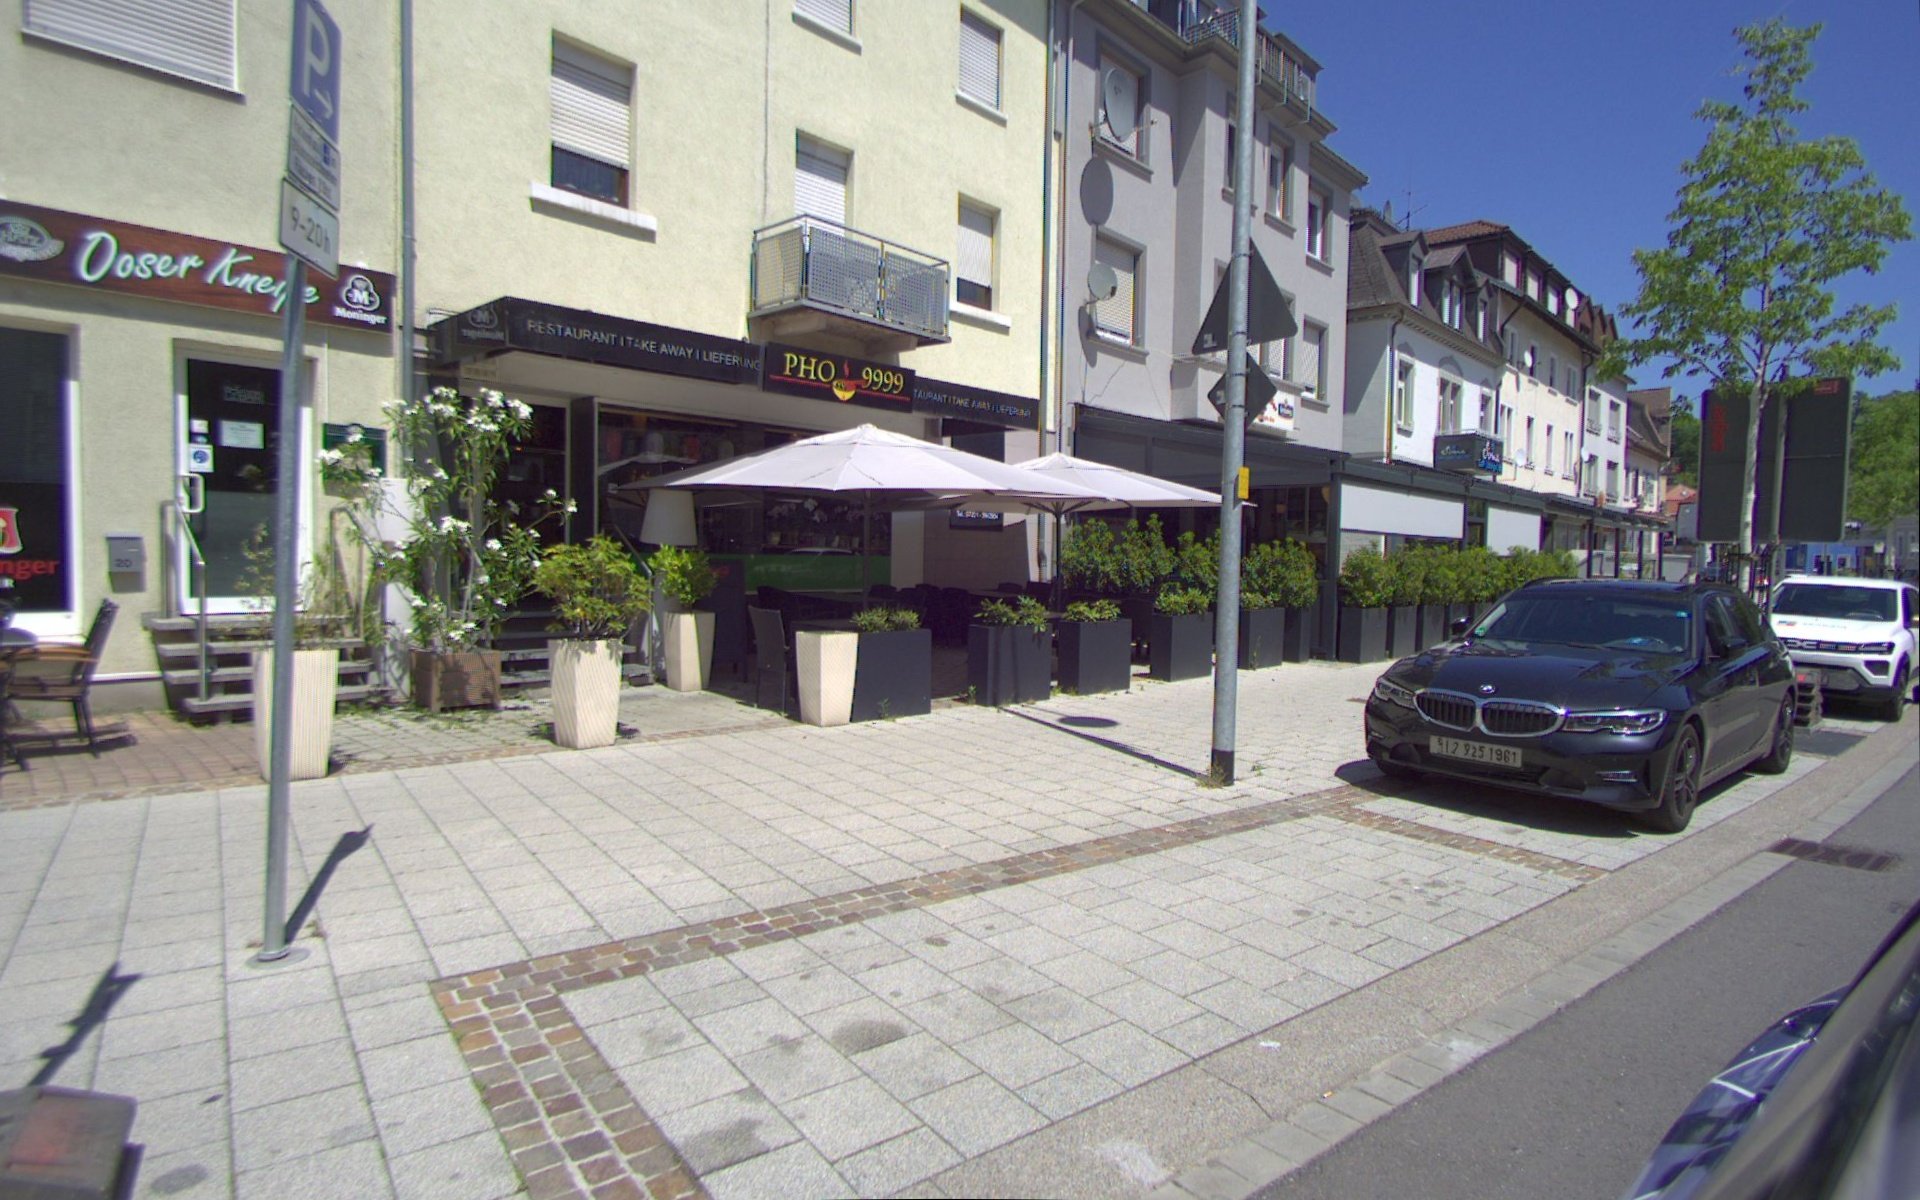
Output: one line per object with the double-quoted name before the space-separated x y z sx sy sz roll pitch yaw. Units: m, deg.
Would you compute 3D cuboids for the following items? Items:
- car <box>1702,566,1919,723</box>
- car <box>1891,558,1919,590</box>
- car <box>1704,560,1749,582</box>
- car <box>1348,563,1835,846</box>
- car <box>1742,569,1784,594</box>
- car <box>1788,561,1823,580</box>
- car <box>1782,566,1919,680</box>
"car" 10.643 0.386 12.186 3.982 1.503 1.742 -2 5 -39
"car" 52.078 -1.397 54.047 1.924 1.679 4.210 0 2 19
"car" 56.080 -2.162 74.120 1.719 1.490 4.286 4 4 26
"car" 4.822 0.496 7.423 4.528 1.422 1.728 -1 4 -41
"car" 49.789 -1.136 62.808 1.672 1.533 3.348 1 1 32
"car" 64.969 -2.260 77.843 1.662 1.413 3.800 3 3 35
"car" 14.829 0.273 15.904 4.018 1.499 1.840 -2 5 -35
